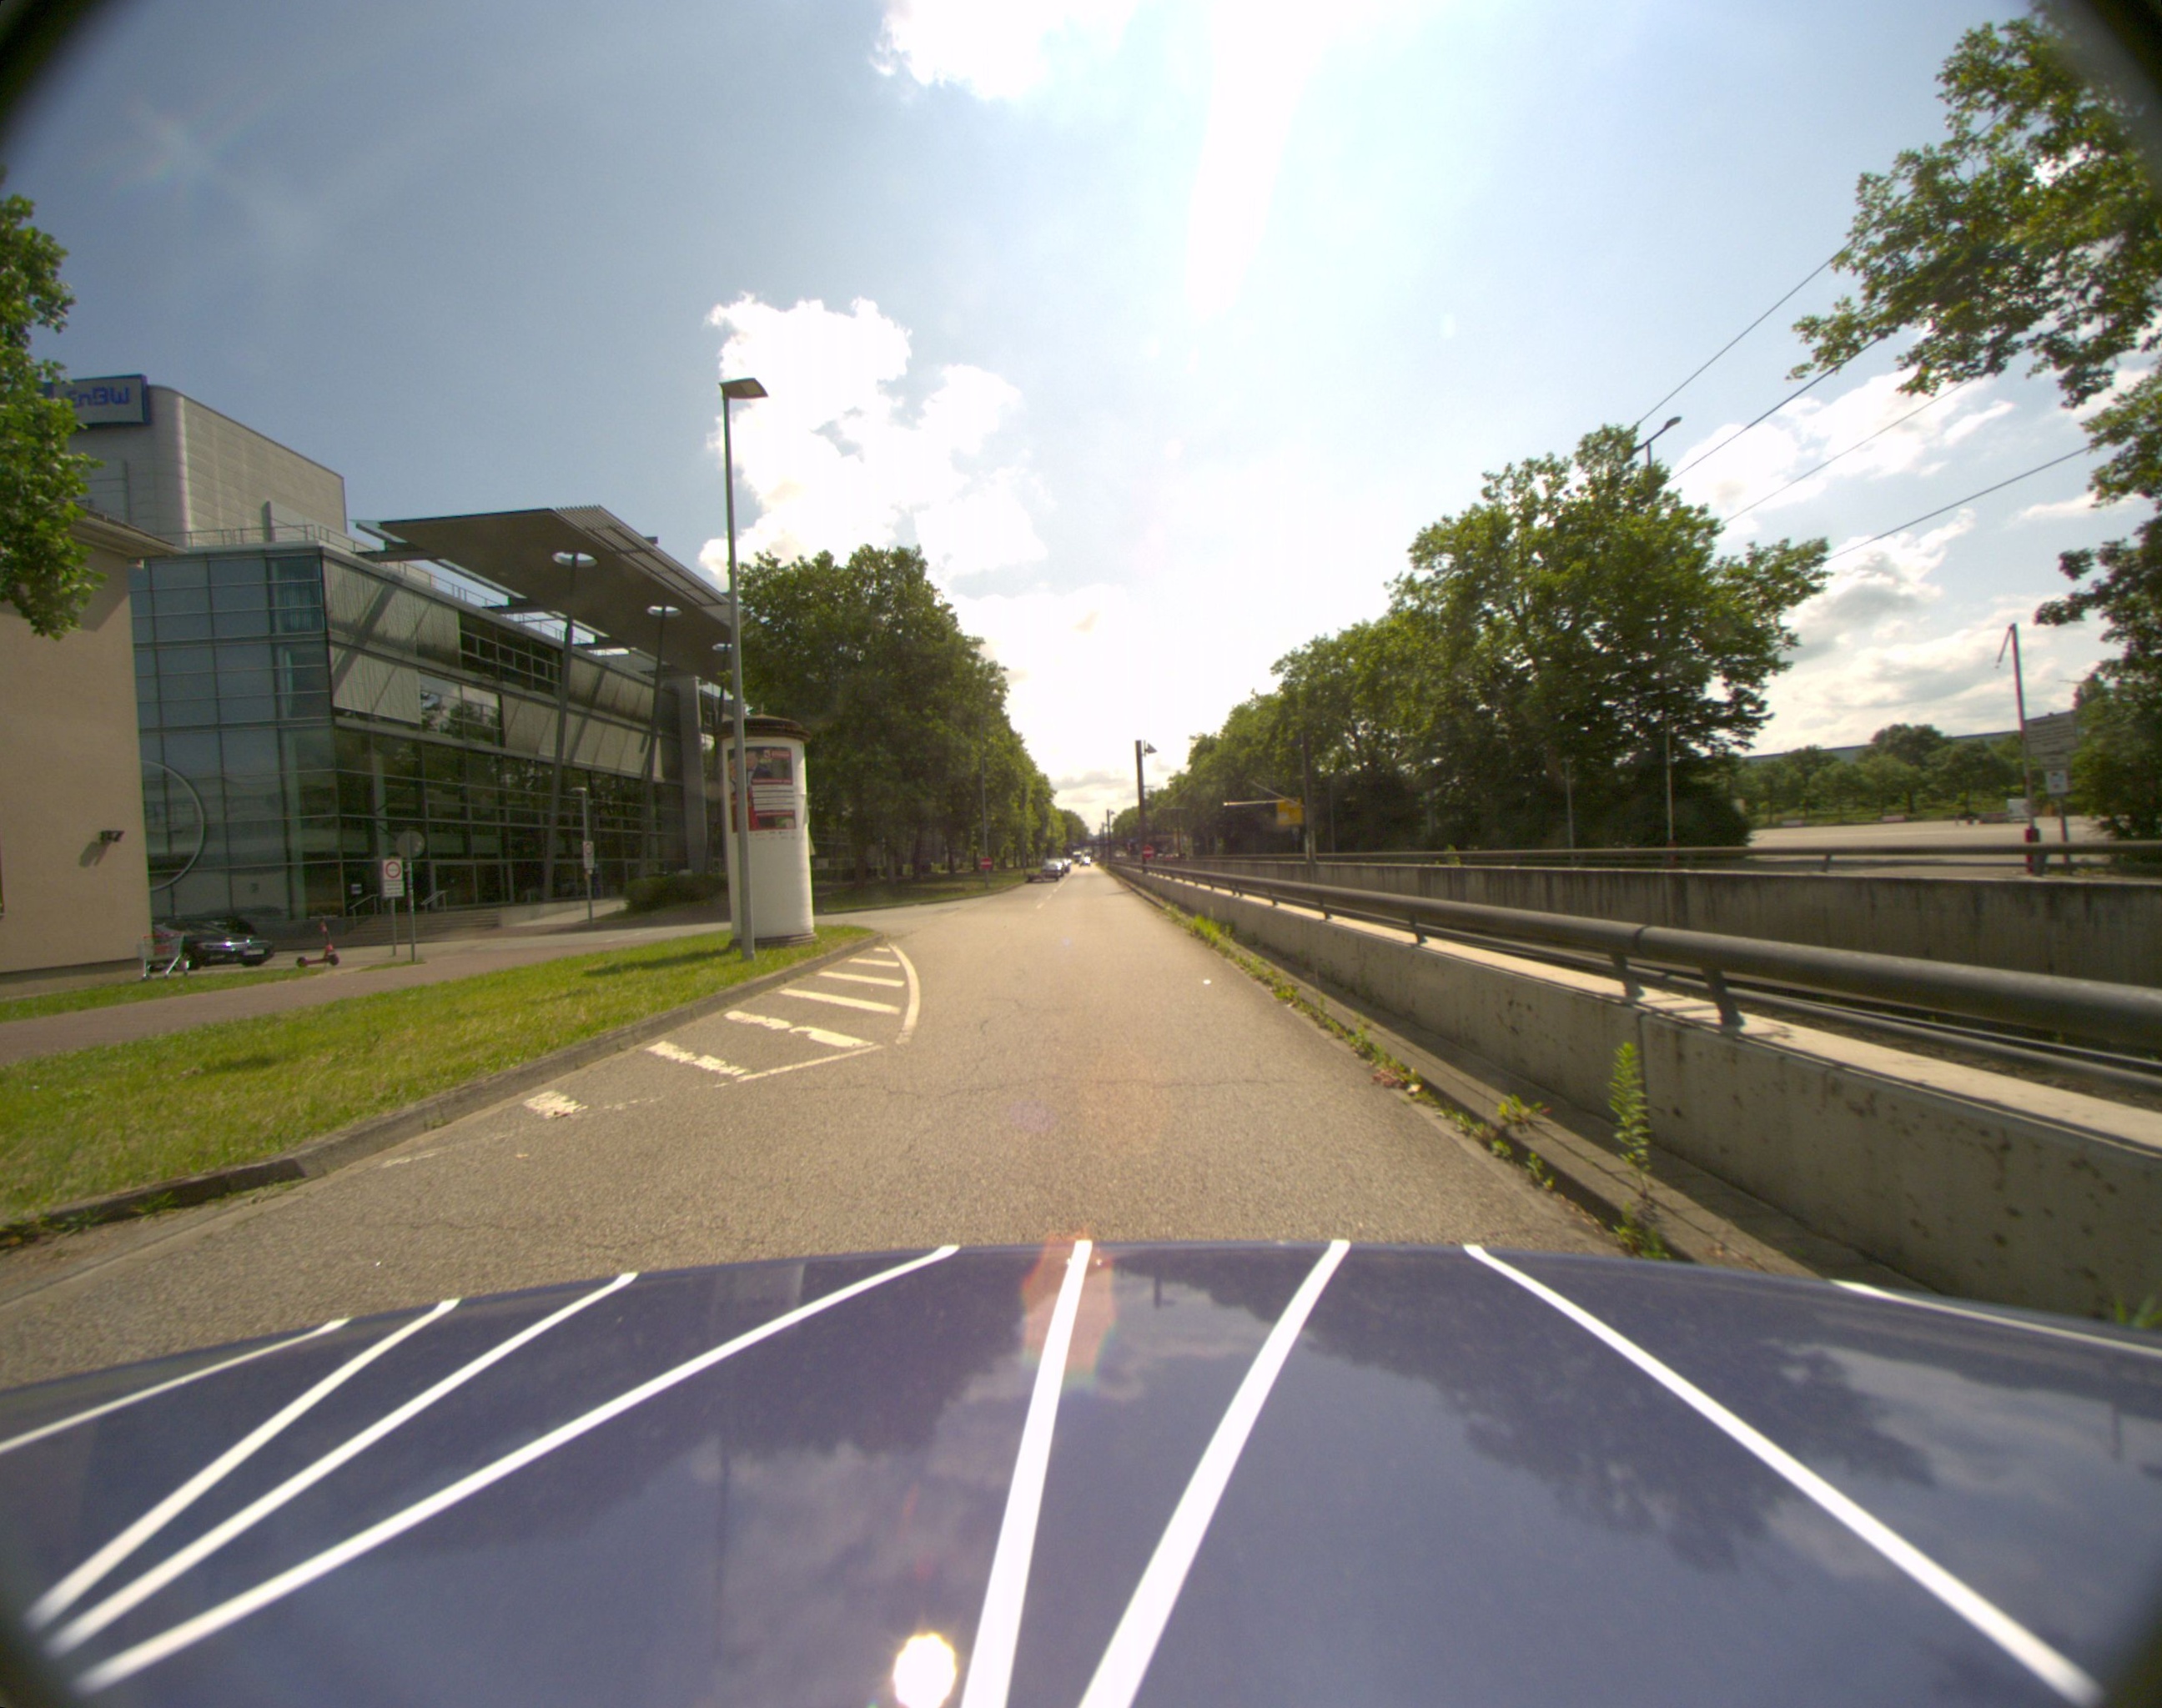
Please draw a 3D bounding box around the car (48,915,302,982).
[{"bbox_3d":[-24.739,2.556,20.897,4.463,1.346,2.000,-3,0,-1],"label":"car"}]

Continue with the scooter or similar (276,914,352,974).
[{"bbox_3d":[-17.744,2.078,17.574,1.441,1.296,0.548,-3,1,16],"label":"scooter or similar"}]

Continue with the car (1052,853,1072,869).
[{"bbox_3d":[-1.983,0.715,79.771,1.809,1.496,3.734,-3,0,1],"label":"car"}]

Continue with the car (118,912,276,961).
[{"bbox_3d":[-34.350,3.195,29.609,3.996,1.411,1.817,-3,4,2],"label":"car"}]

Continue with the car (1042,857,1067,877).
[{"bbox_3d":[-2.158,1.060,63.319,1.809,1.496,3.734,-3,0,1],"label":"car"}]

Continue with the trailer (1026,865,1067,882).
[{"bbox_3d":[-2.293,1.296,52.101,2.303,0.823,6.820,-2,0,1],"label":"trailer"}]

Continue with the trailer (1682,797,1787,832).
[{"bbox_3d":[74.608,-4.413,86.926,2.873,3.478,8.869,-2,1,-43],"label":"trailer"}]

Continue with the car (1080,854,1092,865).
[{"bbox_3d":[0.834,0.962,129.651,1.998,1.710,4.304,-2,1,1],"label":"car"}]
